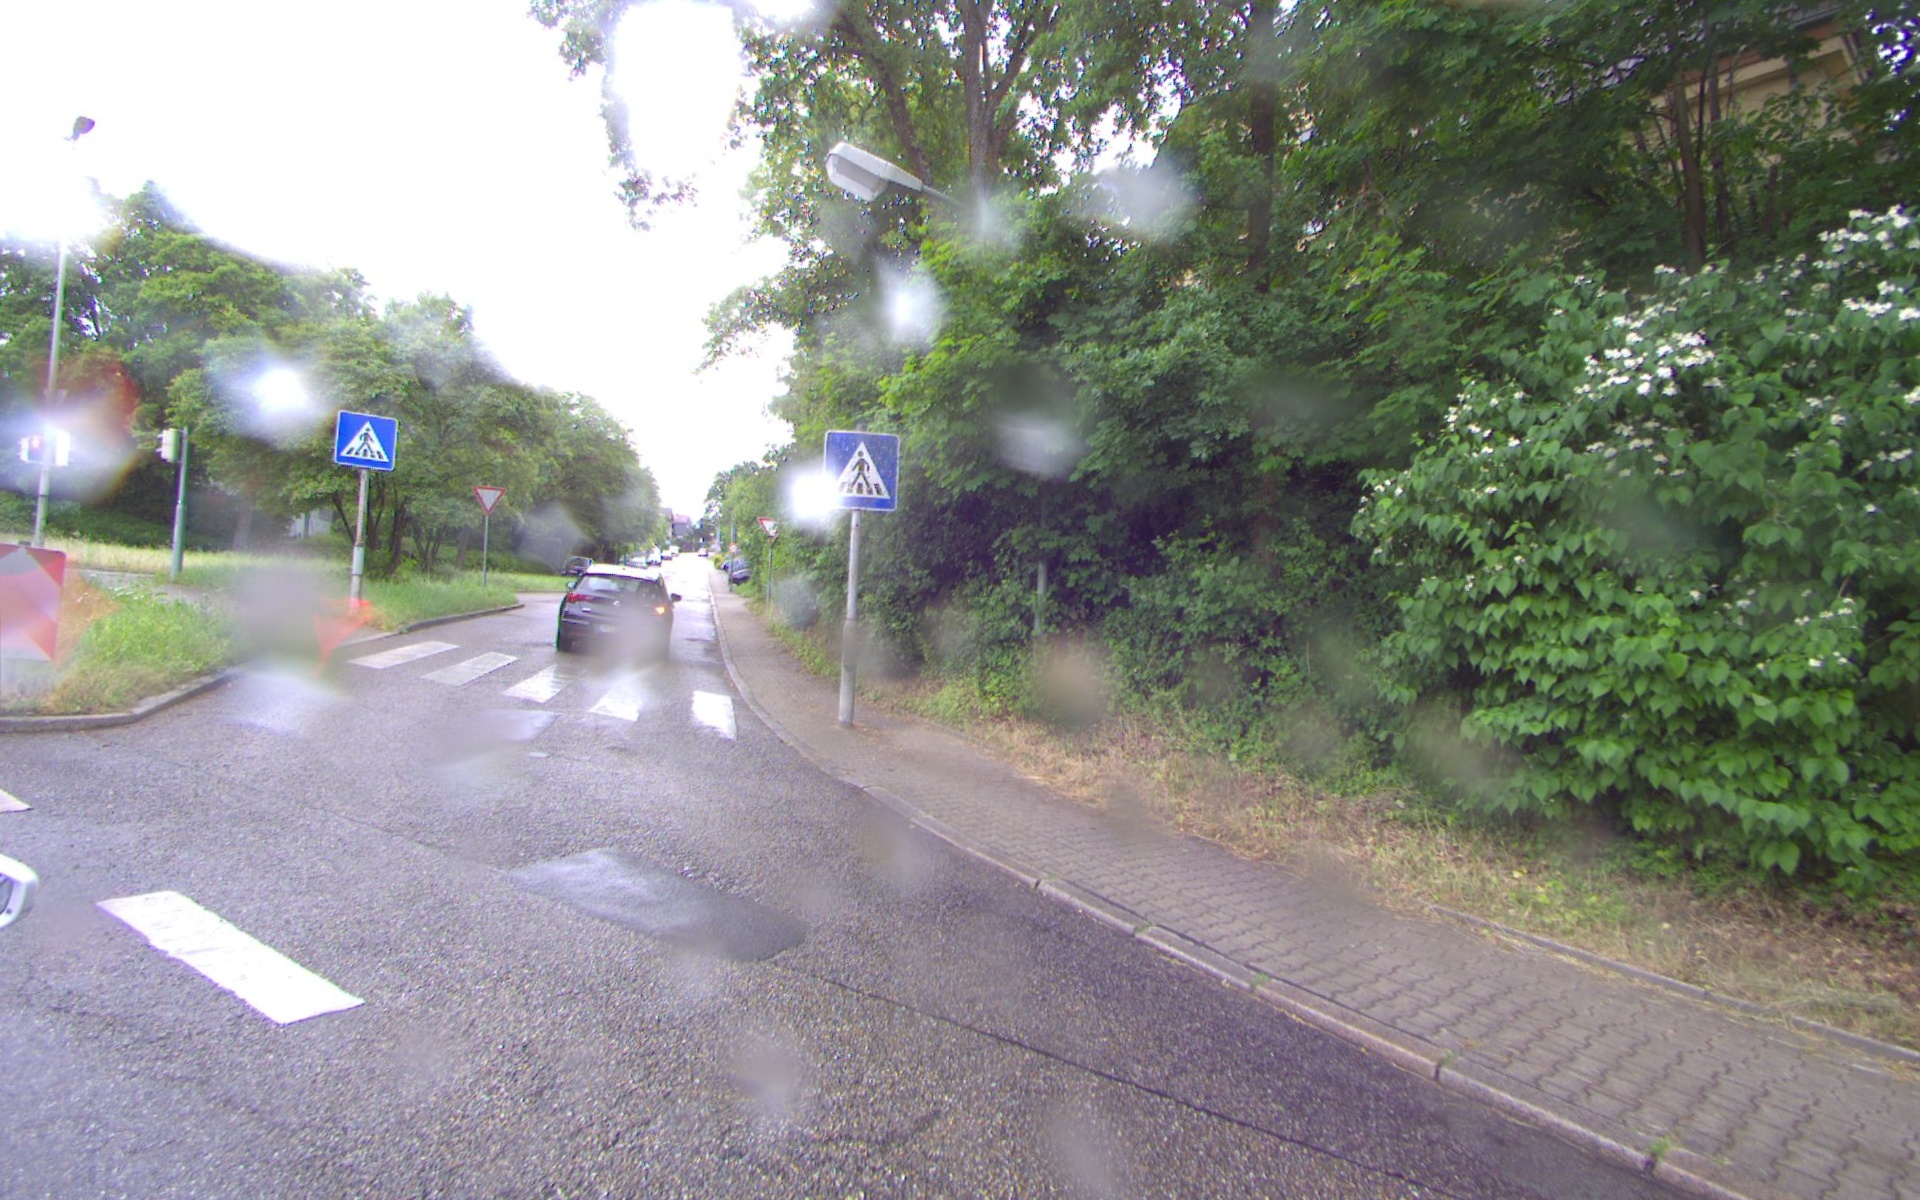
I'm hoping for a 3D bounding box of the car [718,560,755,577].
[{"bbox_3d":[-25.794,-3.634,116.104,3.939,1.594,1.766,5,1,-18],"label":"car"}]

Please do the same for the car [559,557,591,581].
[{"bbox_3d":[-25.908,-2.060,67.745,1.651,1.387,3.477,6,0,-16],"label":"car"}]

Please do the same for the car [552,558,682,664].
[{"bbox_3d":[-5.886,0.107,17.590,1.790,1.461,4.146,6,1,-17],"label":"car"}]

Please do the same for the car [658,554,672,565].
[{"bbox_3d":[-46.800,-6.365,159.522,1.877,1.413,4.151,7,-2,-20],"label":"car"}]

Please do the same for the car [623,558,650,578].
[{"bbox_3d":[-30.127,-2.984,93.741,1.874,1.467,4.285,7,-2,-13],"label":"car"}]

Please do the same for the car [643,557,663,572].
[{"bbox_3d":[-37.733,-4.369,123.656,1.968,1.463,4.278,7,-2,-19],"label":"car"}]
